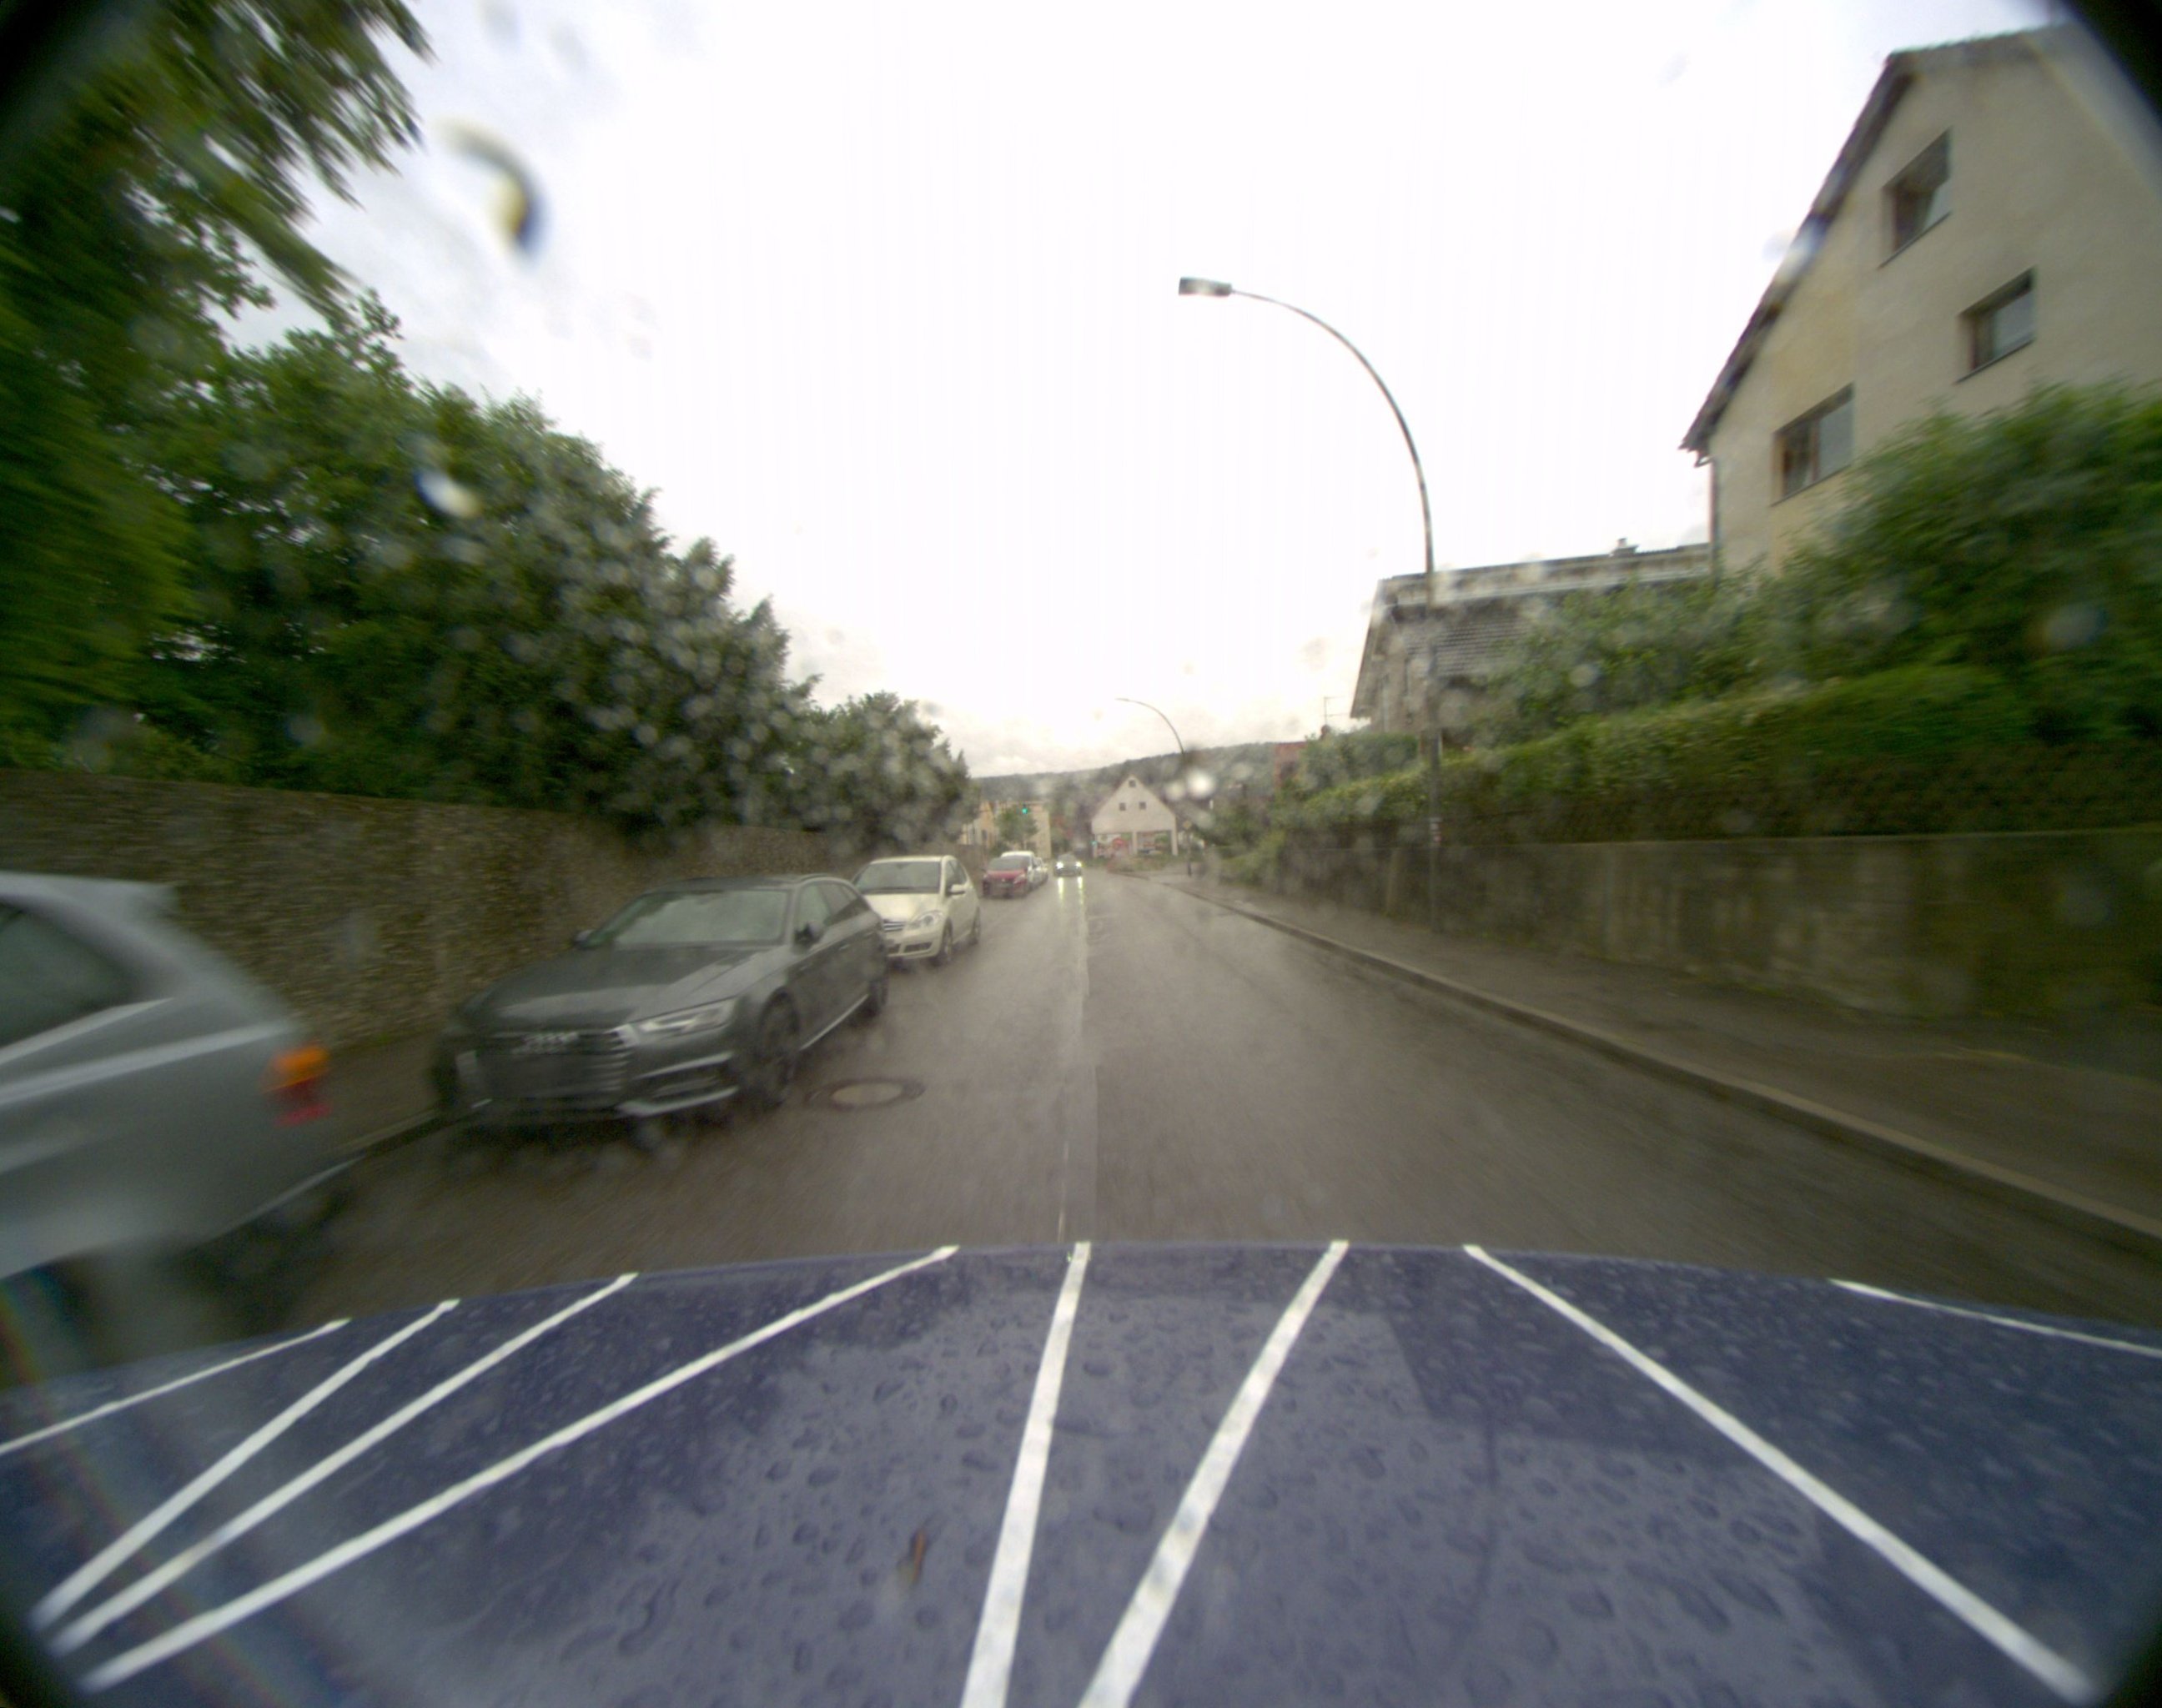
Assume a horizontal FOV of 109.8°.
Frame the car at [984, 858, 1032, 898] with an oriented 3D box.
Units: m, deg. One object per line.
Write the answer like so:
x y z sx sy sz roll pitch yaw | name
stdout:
-2.772 0.878 29.515 1.588 1.446 3.663 -1 0 -2 | car

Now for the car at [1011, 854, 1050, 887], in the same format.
-2.640 0.819 40.124 1.650 1.454 3.999 -3 2 1 | car

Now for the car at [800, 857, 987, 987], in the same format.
-2.732 0.917 12.044 1.819 1.564 3.880 -2 1 2 | car

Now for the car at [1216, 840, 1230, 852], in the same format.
17.912 -1.003 95.865 1.415 1.421 3.495 -2 2 16 | car

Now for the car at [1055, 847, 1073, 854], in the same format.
-3.908 -0.884 178.208 1.875 1.368 4.007 -1 2 43 | car

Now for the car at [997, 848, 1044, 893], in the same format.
-2.658 0.681 34.181 1.641 1.731 4.134 -3 2 1 | car

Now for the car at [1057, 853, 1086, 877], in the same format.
-0.750 0.786 56.524 1.999 1.521 3.998 -3 2 -3 | car

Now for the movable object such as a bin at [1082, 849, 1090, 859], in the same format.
0.585 0.022 89.278 0.899 1.072 0.651 -4 2 1 | movable object such as a bin

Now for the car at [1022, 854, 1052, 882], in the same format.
-2.578 0.801 45.510 1.616 1.472 4.037 -3 1 -2 | car

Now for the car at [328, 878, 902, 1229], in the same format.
-2.847 1.062 6.117 1.769 1.439 4.694 -2 1 -2 | car
